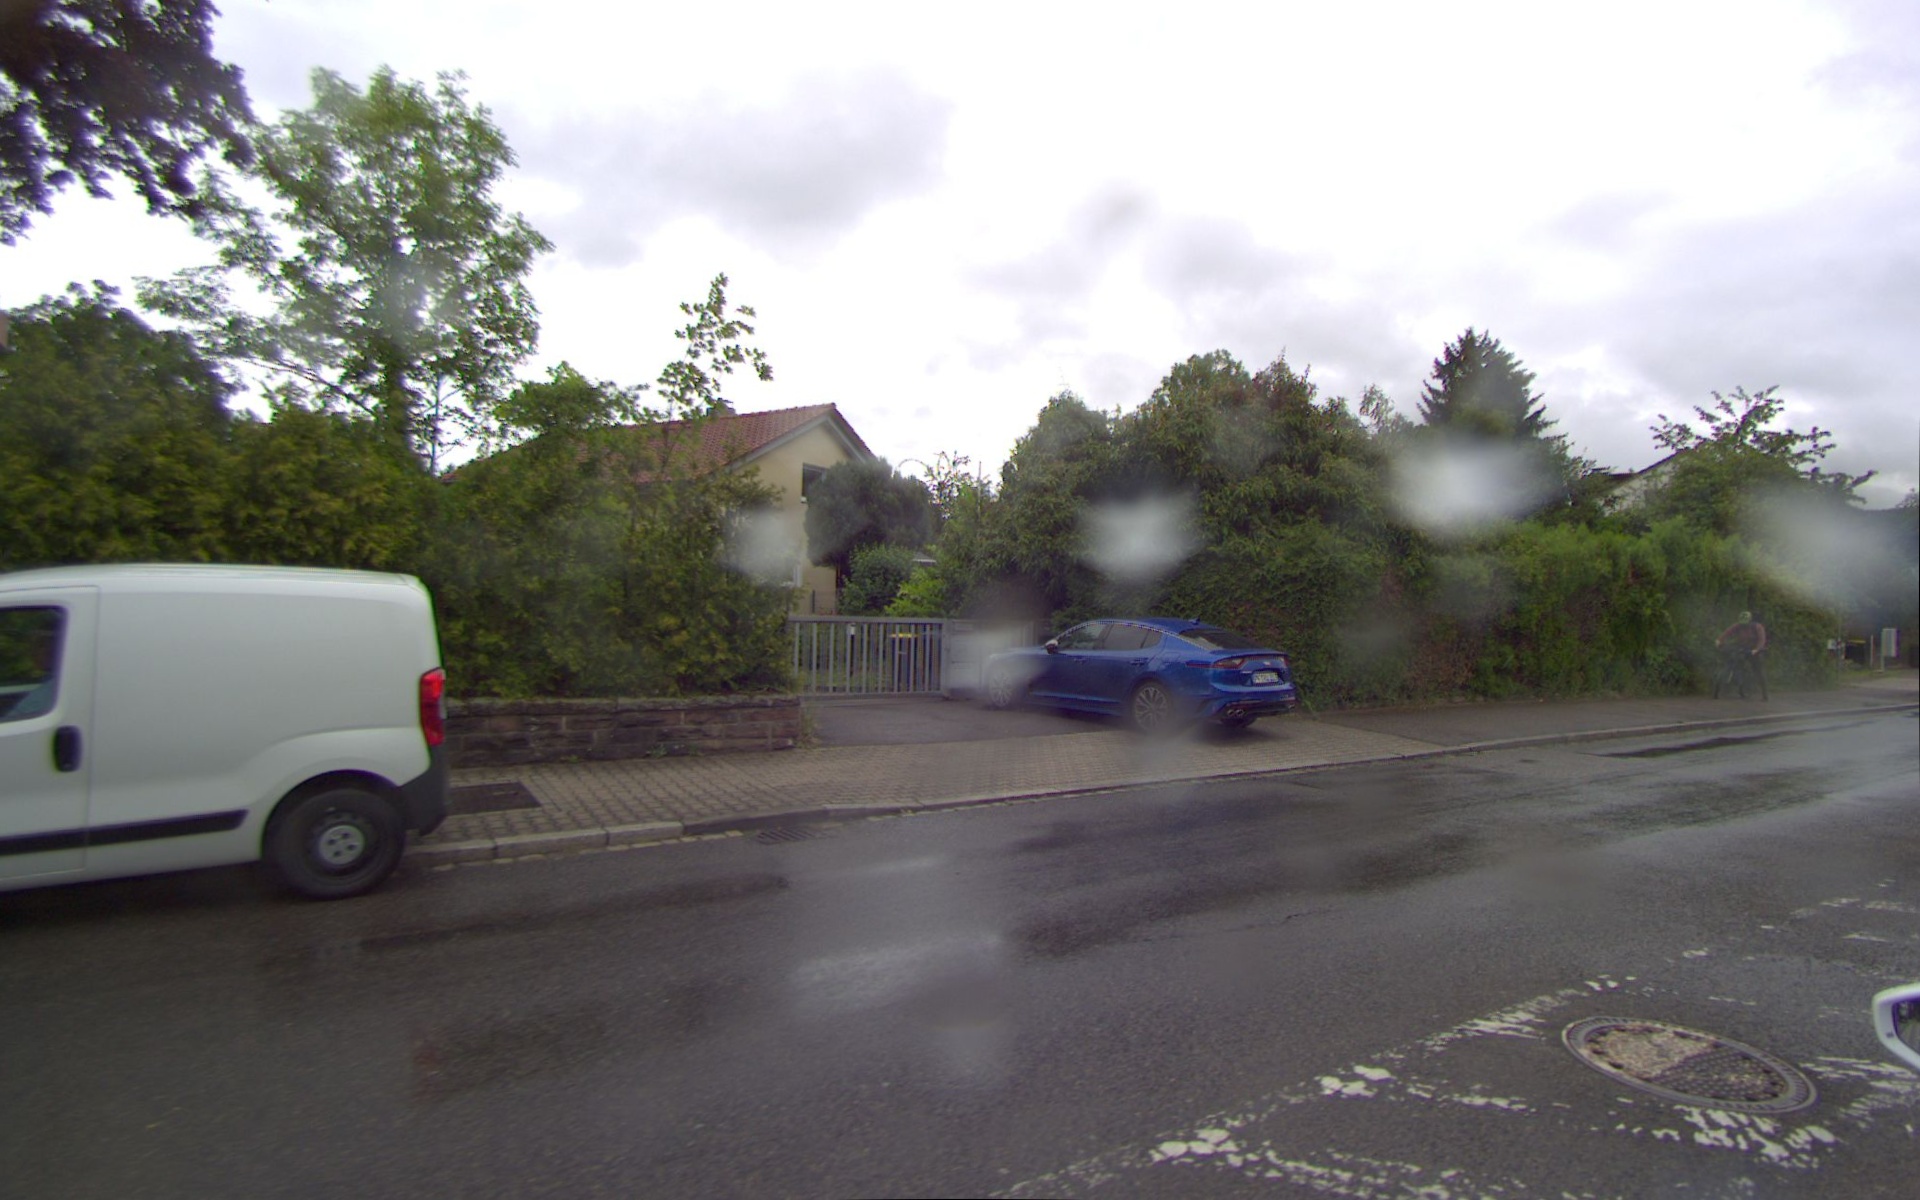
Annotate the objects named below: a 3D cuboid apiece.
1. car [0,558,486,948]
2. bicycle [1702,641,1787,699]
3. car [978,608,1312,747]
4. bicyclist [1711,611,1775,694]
[{"bbox_3d":[-4.755,0.671,5.246,3.936,1.731,1.690,0,3,-33],"label":"car"},{"bbox_3d":[16.136,1.414,20.650,1.968,1.101,0.743,2,0,-33],"label":"bicycle"},{"bbox_3d":[2.298,0.895,13.628,1.788,1.380,4.449,-1,2,-37],"label":"car"},{"bbox_3d":[16.005,1.051,20.539,0.859,1.633,0.760,1,0,-32],"label":"bicyclist"}]
